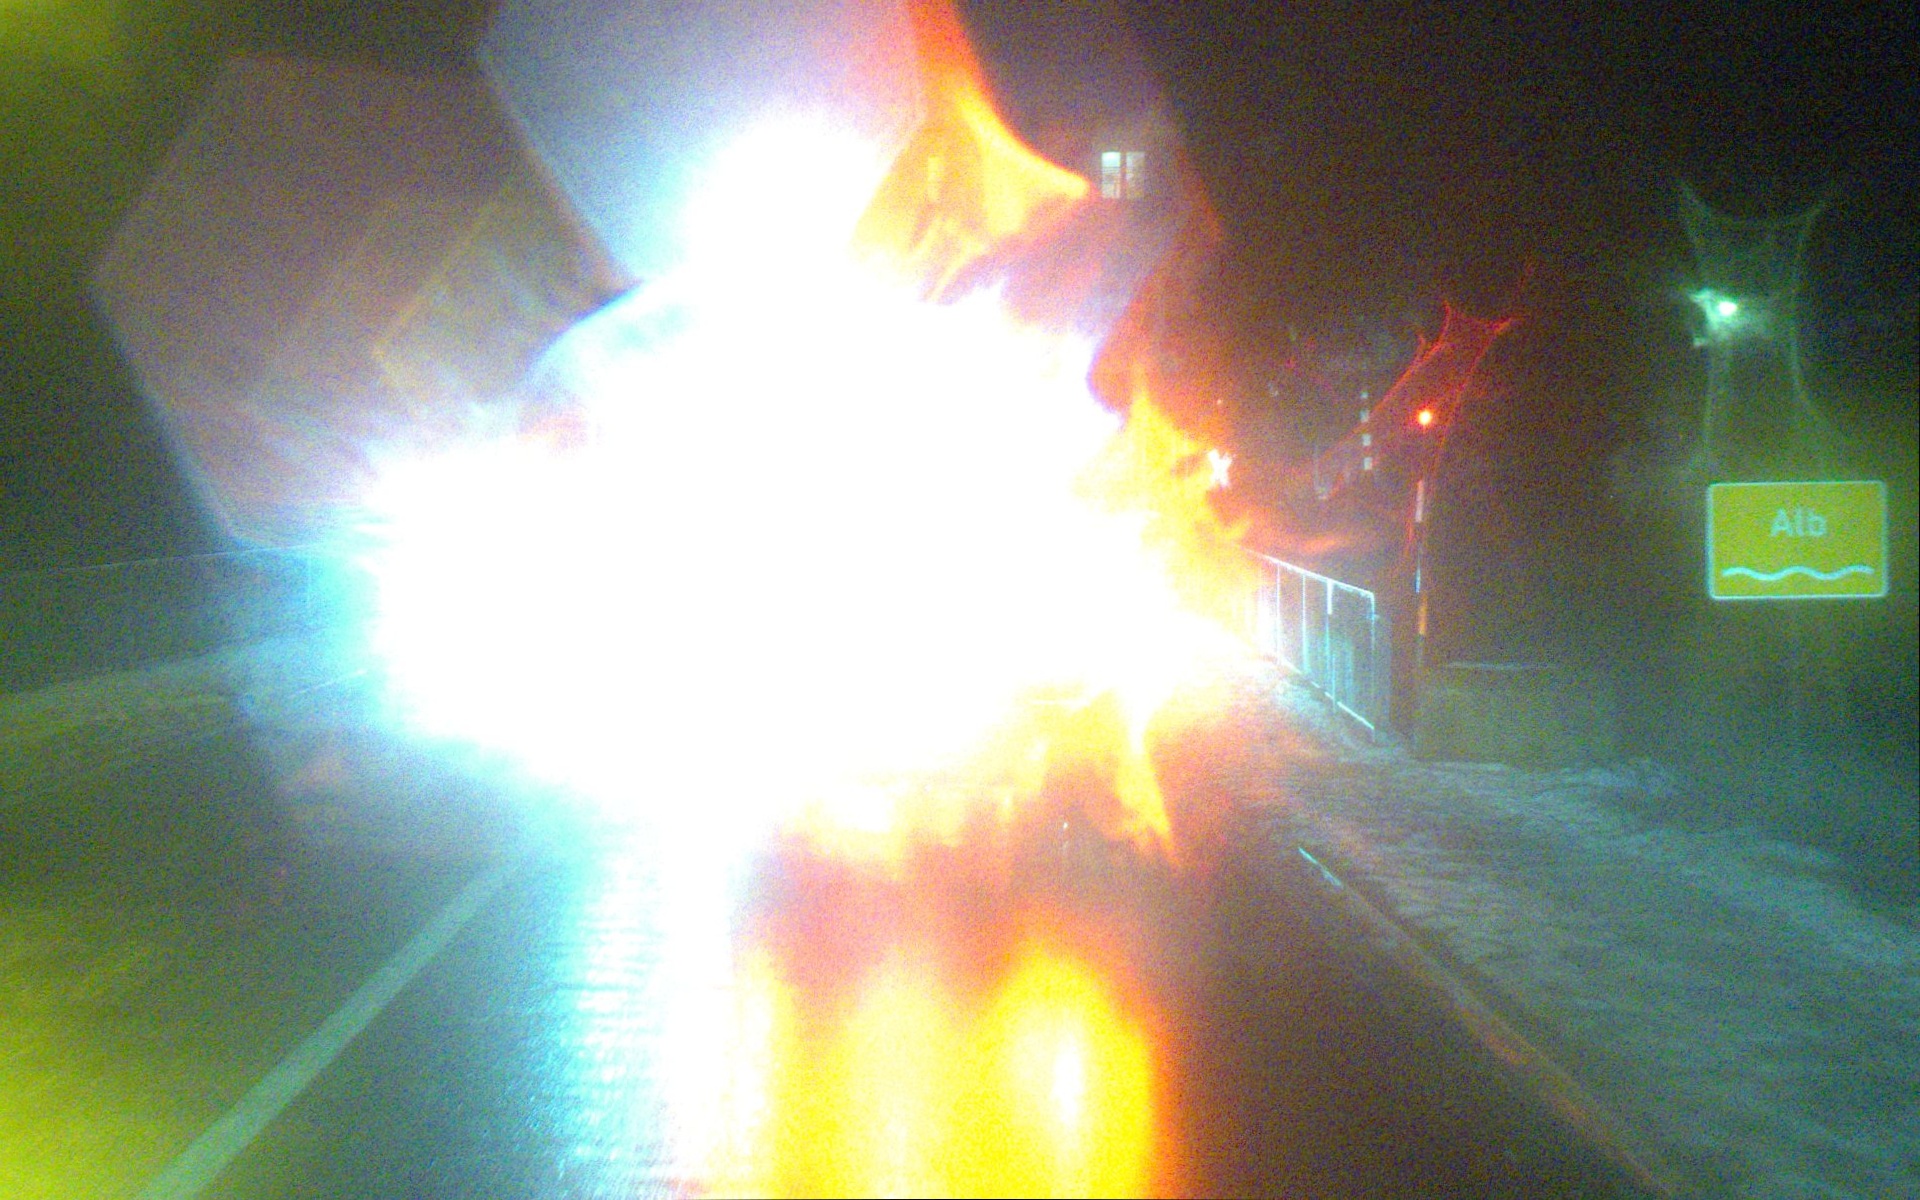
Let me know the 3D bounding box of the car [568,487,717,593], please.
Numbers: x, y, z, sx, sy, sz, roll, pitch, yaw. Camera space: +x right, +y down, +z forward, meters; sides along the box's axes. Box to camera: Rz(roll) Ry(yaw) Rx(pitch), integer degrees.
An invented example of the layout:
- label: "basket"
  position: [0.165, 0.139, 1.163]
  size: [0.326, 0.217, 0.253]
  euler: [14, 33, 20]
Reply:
- label: "car"
  position: [-5.114, -0.982, 55.897]
  size: [1.874, 1.540, 4.355]
  euler: [-4, 1, 1]

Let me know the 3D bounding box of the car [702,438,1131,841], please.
- label: "car"
  position: [-0.141, 0.119, 16.589]
  size: [1.791, 1.675, 3.904]
  euler: [-1, 1, 1]
